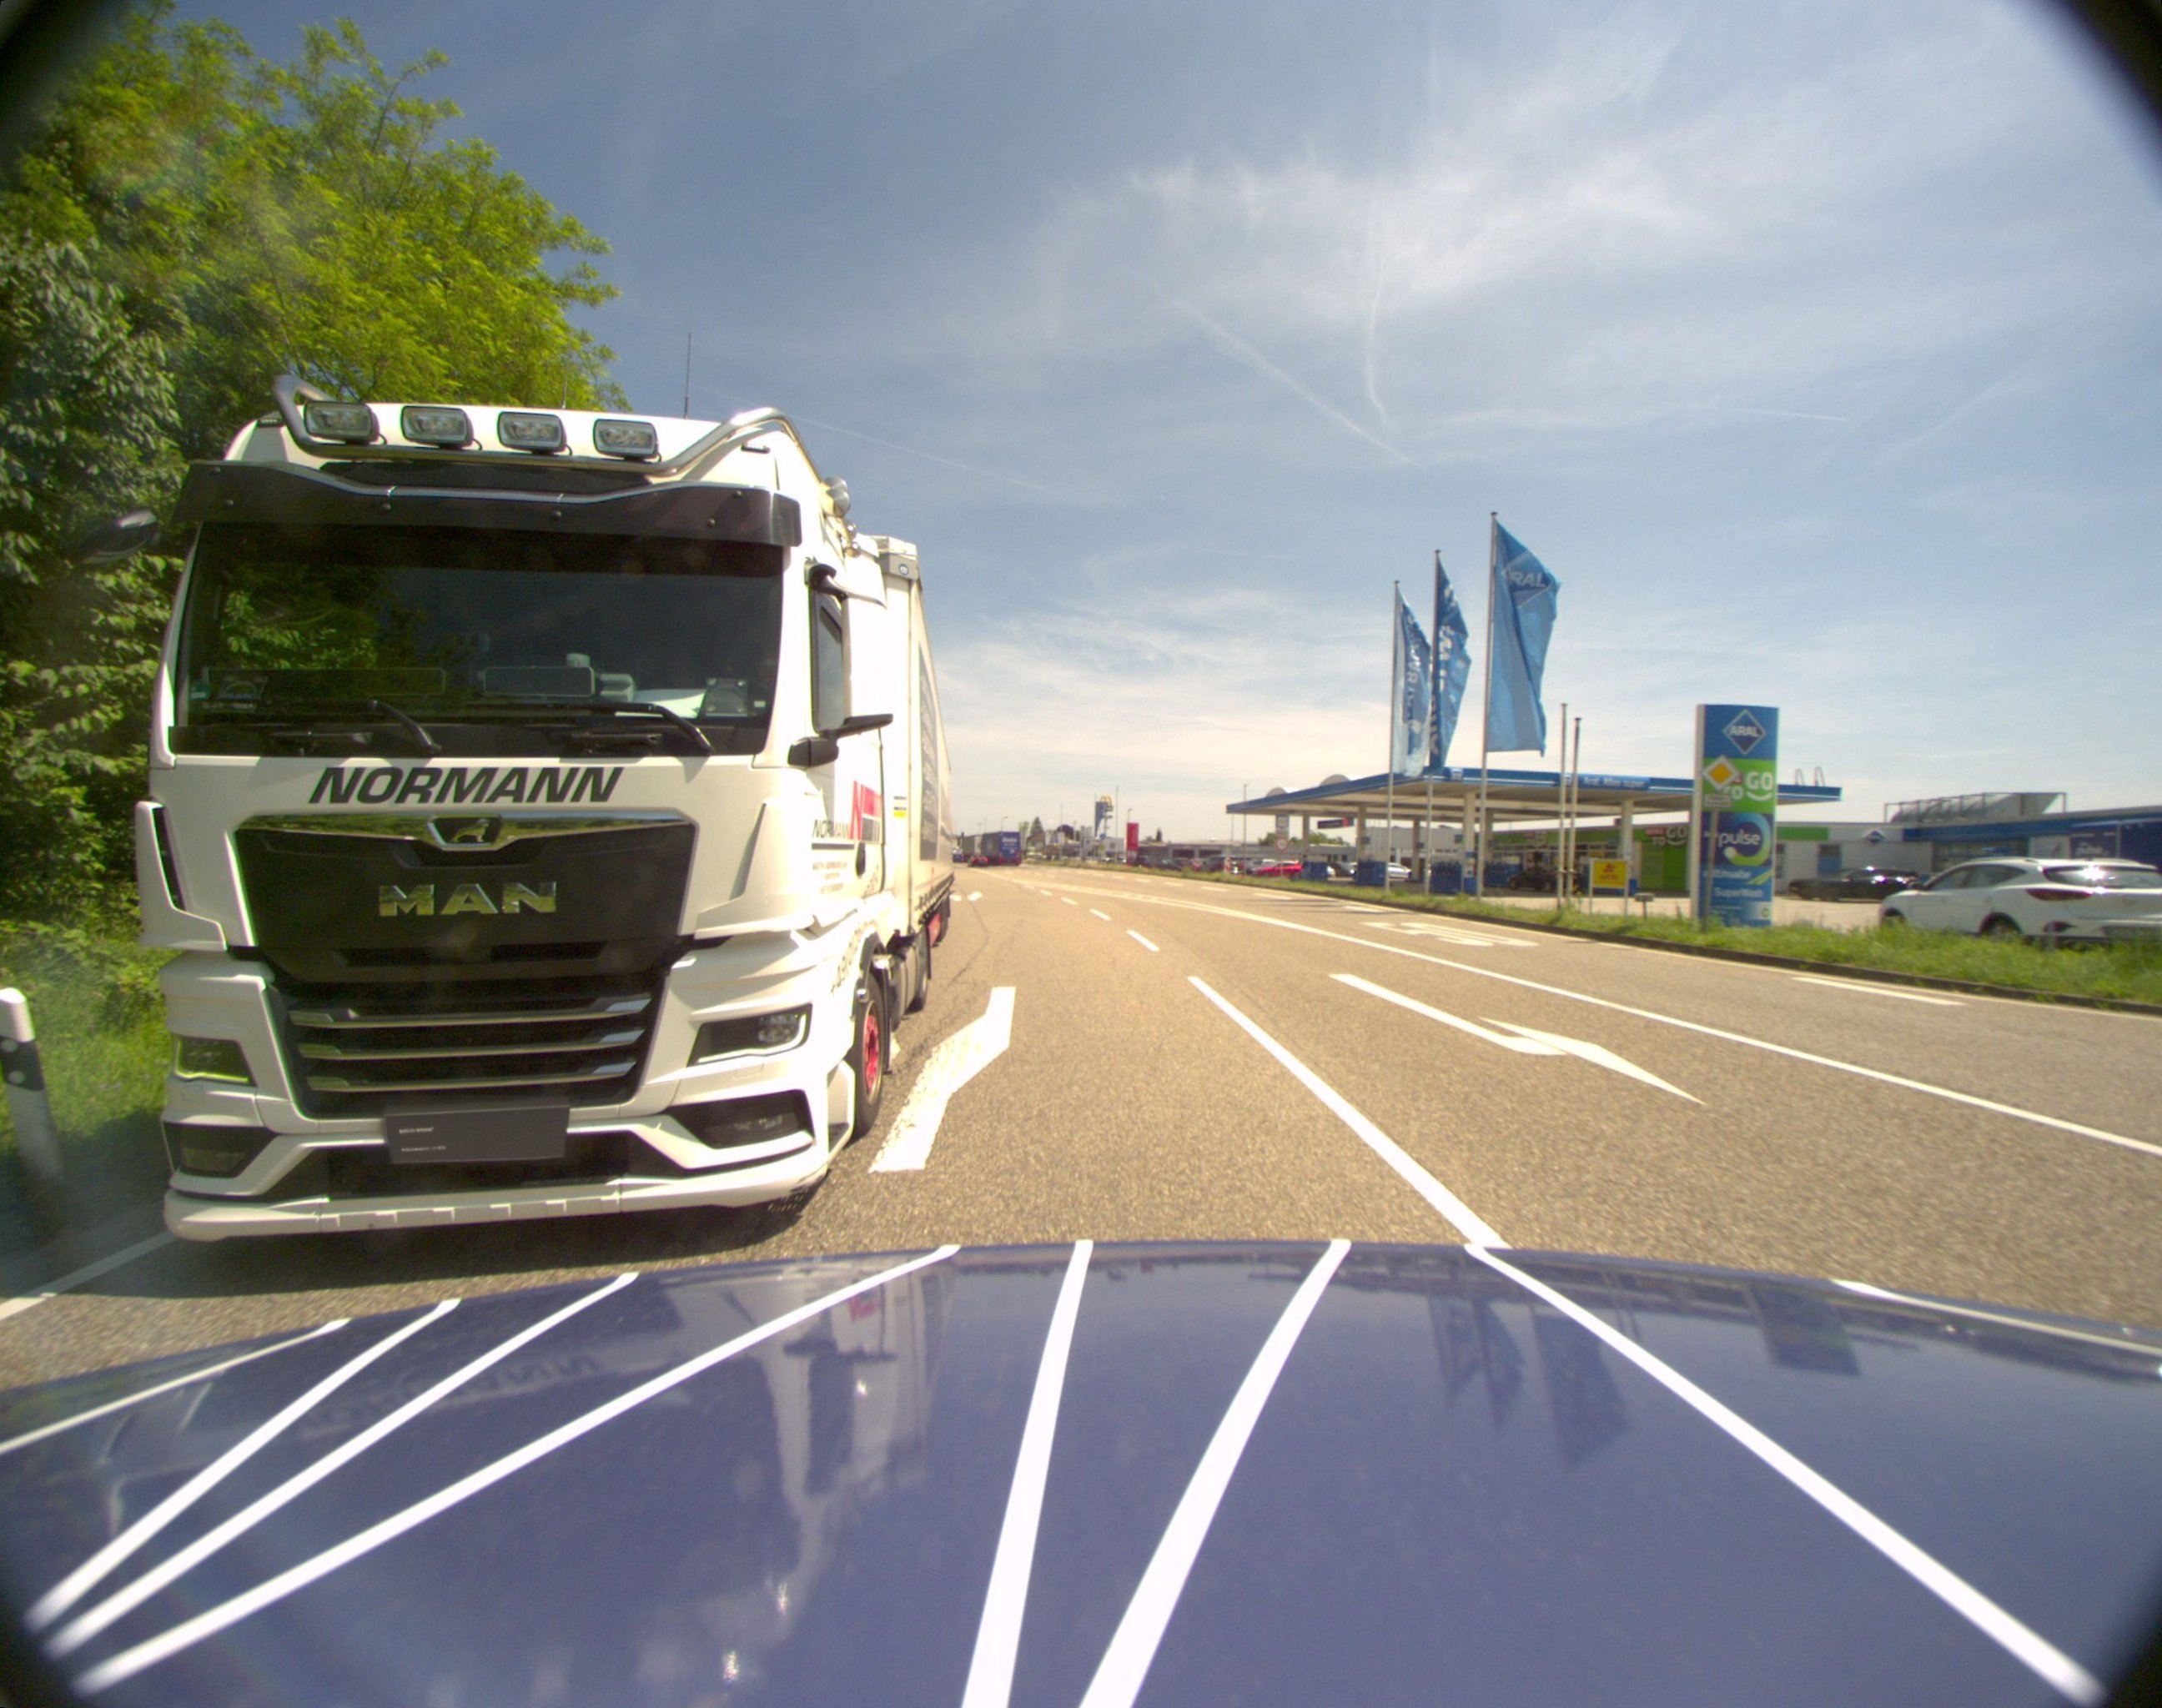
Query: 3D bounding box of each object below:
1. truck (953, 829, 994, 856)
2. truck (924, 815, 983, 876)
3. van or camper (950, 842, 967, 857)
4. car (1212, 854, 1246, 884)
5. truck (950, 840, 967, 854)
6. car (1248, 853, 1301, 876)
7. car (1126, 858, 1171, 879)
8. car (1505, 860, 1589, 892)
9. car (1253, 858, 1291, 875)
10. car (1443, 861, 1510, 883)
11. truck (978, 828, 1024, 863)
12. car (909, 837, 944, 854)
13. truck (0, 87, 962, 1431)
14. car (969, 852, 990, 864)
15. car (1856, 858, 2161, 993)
[{"bbox_3d":[-16.565,-1.834,116.104,2.802,3.867,16.449,0,1,-20],"label":"truck"},{"bbox_3d":[-9.222,-0.613,54.276,2.986,3.987,6.315,2,0,-20],"label":"truck"},{"bbox_3d":[-17.551,-0.619,109.007,1.844,2.125,5.335,0,1,-15],"label":"van or camper"},{"bbox_3d":[9.079,0.899,46.977,1.832,1.709,4.572,1,0,8],"label":"car"},{"bbox_3d":[-22.185,-1.229,137.406,2.434,2.327,5.666,3,0,-14],"label":"truck"},{"bbox_3d":[16.792,0.926,66.047,3.999,1.892,1.999,1,0,-6],"label":"car"},{"bbox_3d":[5.836,1.182,65.282,1.837,1.695,4.009,2,1,41],"label":"car"},{"bbox_3d":[25.129,1.162,41.160,1.607,1.469,4.103,2,1,-7],"label":"car"},{"bbox_3d":[17.537,1.124,70.049,1.713,1.526,3.995,1,0,-14],"label":"car"},{"bbox_3d":[28.163,1.251,54.321,2.000,1.370,4.379,1,0,-9],"label":"car"},{"bbox_3d":[-10.255,-1.046,94.846,2.855,3.866,16.979,1,0,-16],"label":"truck"},{"bbox_3d":[-17.341,-0.981,85.240,3.542,1.469,1.829,6,-1,-18],"label":"car"},{"bbox_3d":[-3.442,-0.445,11.219,2.983,4.070,17.615,-2,1,-10],"label":"truck"},{"bbox_3d":[-11.313,0.396,84.474,1.855,1.263,4.170,1,0,-15],"label":"car"},{"bbox_3d":[15.226,0.992,12.454,1.864,1.702,4.526,1,1,22],"label":"car"}]
